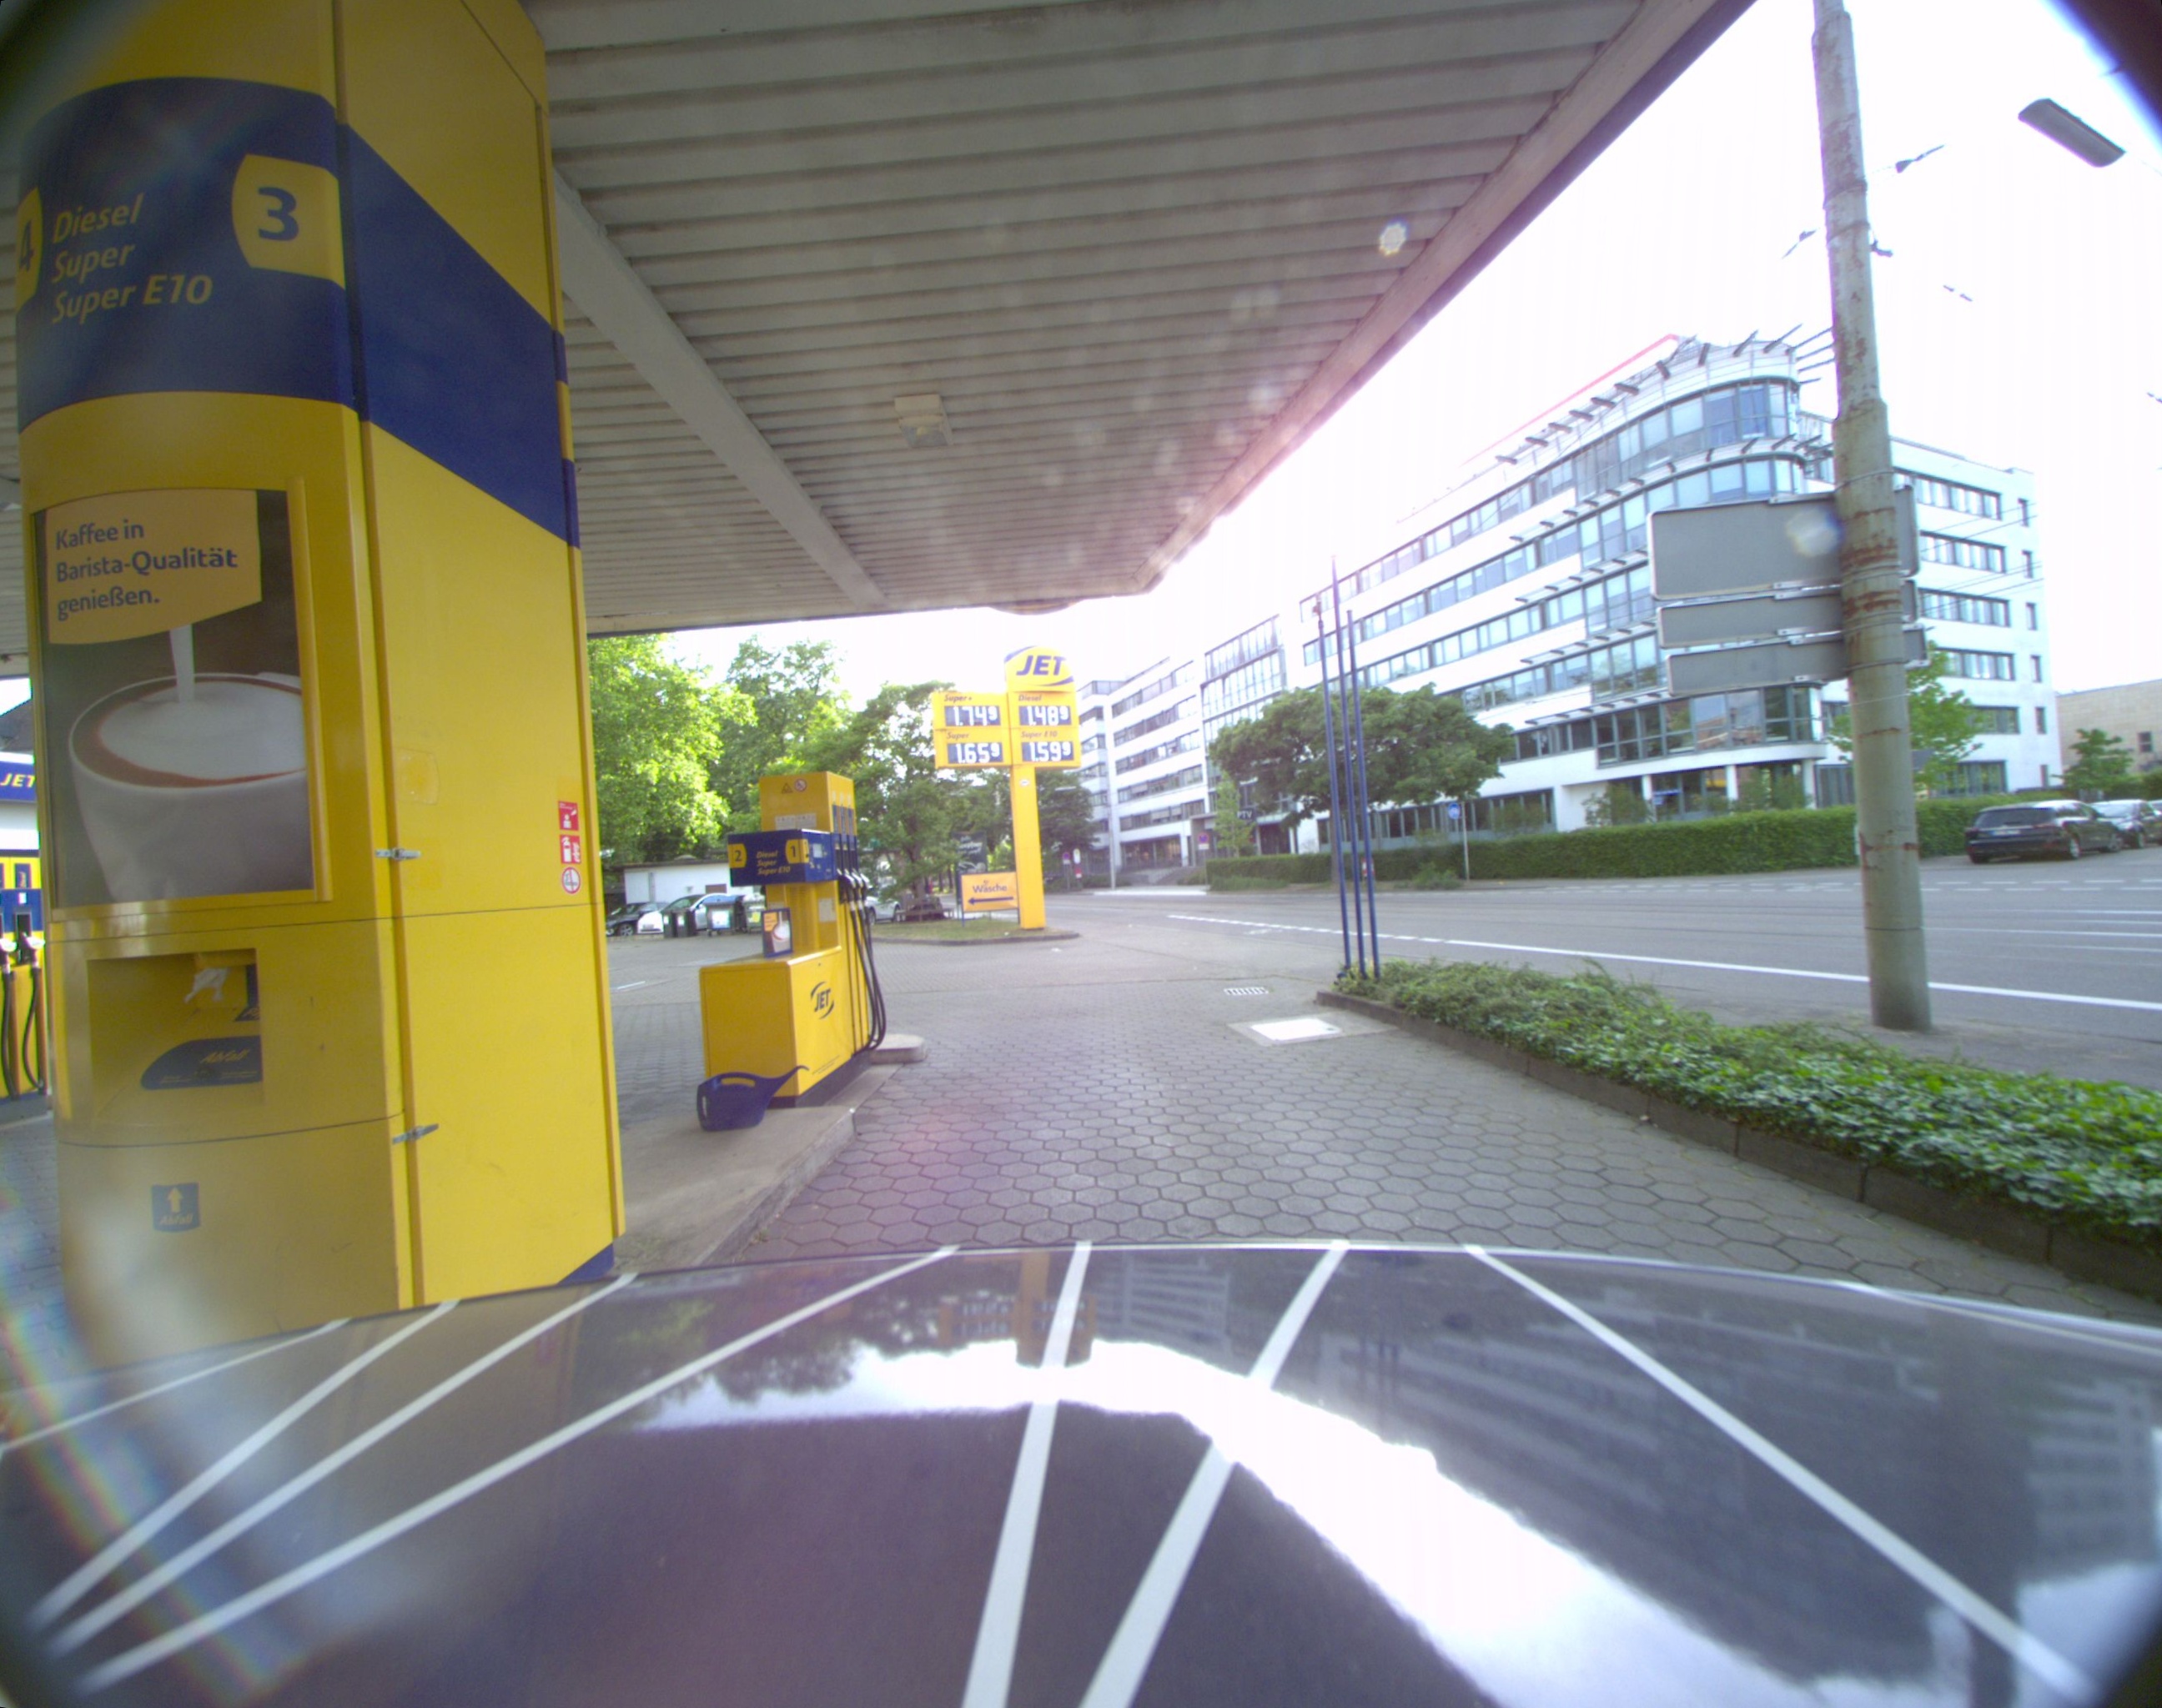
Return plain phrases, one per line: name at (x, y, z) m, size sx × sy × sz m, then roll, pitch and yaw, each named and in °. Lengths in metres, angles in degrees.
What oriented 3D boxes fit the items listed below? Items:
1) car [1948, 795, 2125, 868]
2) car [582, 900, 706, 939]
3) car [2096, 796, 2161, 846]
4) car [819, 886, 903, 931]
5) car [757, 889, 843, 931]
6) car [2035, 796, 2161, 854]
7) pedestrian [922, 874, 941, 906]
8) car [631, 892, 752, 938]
car at (27.369, -0.643, 21.770) m, size 4.438 × 1.603 × 1.976 m, roll -5°, pitch -1°, yaw -23°
car at (-17.753, 2.631, 31.074) m, size 1.745 × 1.269 × 4.230 m, roll -5°, pitch -3°, yaw 19°
car at (37.144, -1.227, 26.078) m, size 4.109 × 1.544 × 1.786 m, roll -4°, pitch -1°, yaw -23°
car at (-8.694, 2.117, 30.384) m, size 1.739 × 1.500 × 4.003 m, roll -4°, pitch -2°, yaw 6°
car at (-11.809, 2.323, 32.245) m, size 1.739 × 1.500 × 4.004 m, roll -4°, pitch -2°, yaw 6°
car at (32.484, -0.934, 24.041) m, size 4.109 × 1.544 × 1.786 m, roll -4°, pitch -1°, yaw -23°
pedestrian at (-9.875, 2.365, 50.151) m, size 0.934 × 2.001 × 1.214 m, roll -2°, pitch -1°, yaw -23°
car at (-15.367, 2.383, 30.258) m, size 1.785 × 1.514 × 4.229 m, roll -4°, pitch -3°, yaw 17°
